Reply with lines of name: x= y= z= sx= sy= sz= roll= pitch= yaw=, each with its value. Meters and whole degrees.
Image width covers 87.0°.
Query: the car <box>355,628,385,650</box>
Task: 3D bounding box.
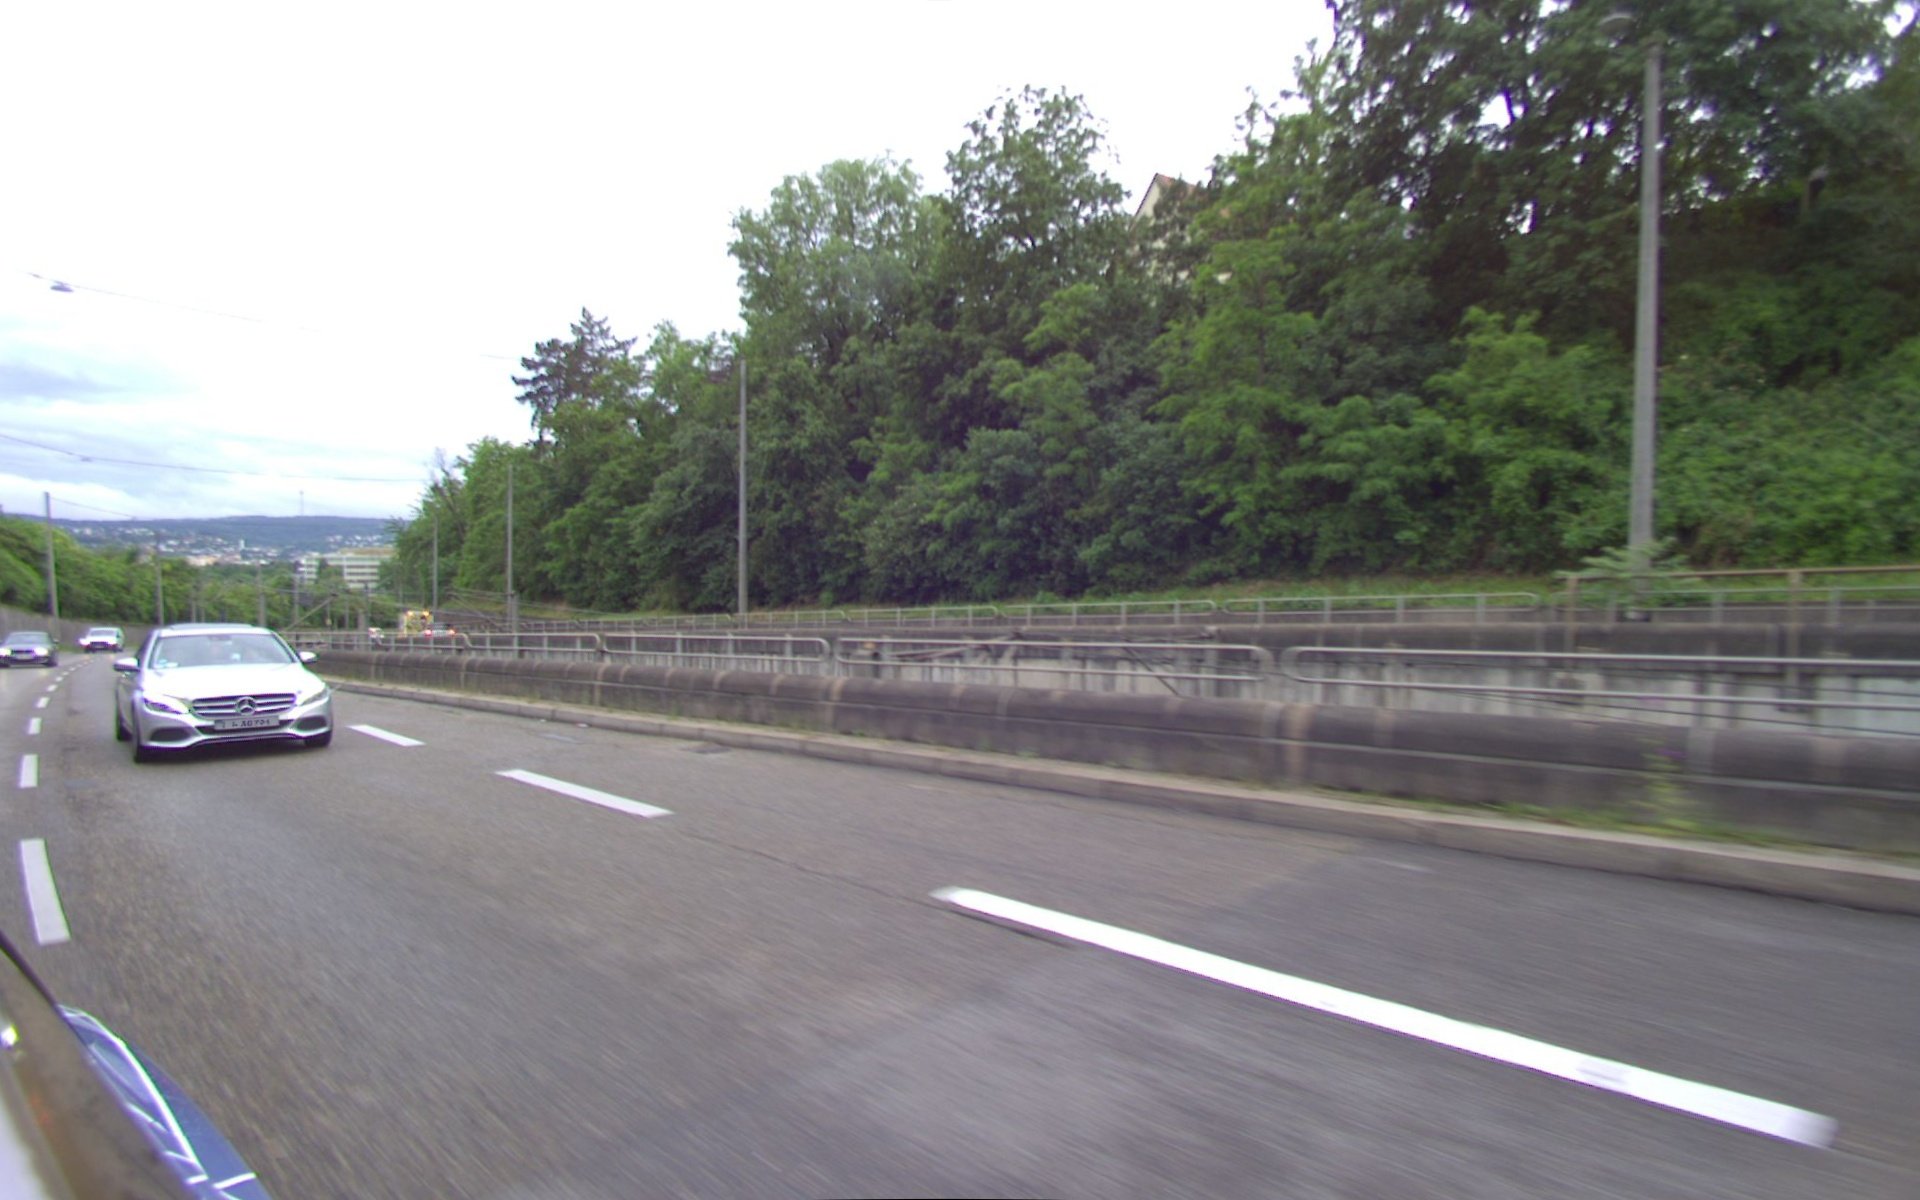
car: x=-47.899 y=3.156 z=82.155 sx=1.793 sy=1.717 sz=4.121 roll=1 pitch=-2 yaw=-35

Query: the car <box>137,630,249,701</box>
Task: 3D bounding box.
car: x=-17.955 y=1.480 z=23.629 sx=1.705 sy=1.482 sz=3.891 roll=1 pitch=-2 yaw=-43

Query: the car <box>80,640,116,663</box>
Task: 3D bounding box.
car: x=-64.546 y=3.829 z=75.814 sx=1.782 sy=1.521 sz=4.008 roll=-2 pitch=1 yaw=-38

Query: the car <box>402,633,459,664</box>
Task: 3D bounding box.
car: x=-31.382 y=2.831 z=59.947 sx=1.937 sy=1.763 sz=4.145 roll=1 pitch=-3 yaw=-43

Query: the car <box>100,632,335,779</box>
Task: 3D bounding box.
car: x=-9.092 y=1.115 z=12.236 sx=1.834 sy=1.413 sz=4.319 roll=0 pitch=-1 yaw=-43

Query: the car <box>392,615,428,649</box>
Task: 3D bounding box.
car: x=-45.371 y=2.646 z=83.395 sx=2.152 sy=2.755 sz=6.363 roll=1 pitch=-2 yaw=-32

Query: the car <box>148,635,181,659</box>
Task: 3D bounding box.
car: x=-67.371 y=3.975 z=85.771 sx=1.967 sy=2.029 sz=4.504 roll=1 pitch=-3 yaw=-36

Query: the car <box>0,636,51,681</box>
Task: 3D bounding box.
car: x=-37.095 y=2.287 z=39.815 sx=1.783 sy=1.521 sz=4.007 roll=-2 pitch=1 yaw=-40
